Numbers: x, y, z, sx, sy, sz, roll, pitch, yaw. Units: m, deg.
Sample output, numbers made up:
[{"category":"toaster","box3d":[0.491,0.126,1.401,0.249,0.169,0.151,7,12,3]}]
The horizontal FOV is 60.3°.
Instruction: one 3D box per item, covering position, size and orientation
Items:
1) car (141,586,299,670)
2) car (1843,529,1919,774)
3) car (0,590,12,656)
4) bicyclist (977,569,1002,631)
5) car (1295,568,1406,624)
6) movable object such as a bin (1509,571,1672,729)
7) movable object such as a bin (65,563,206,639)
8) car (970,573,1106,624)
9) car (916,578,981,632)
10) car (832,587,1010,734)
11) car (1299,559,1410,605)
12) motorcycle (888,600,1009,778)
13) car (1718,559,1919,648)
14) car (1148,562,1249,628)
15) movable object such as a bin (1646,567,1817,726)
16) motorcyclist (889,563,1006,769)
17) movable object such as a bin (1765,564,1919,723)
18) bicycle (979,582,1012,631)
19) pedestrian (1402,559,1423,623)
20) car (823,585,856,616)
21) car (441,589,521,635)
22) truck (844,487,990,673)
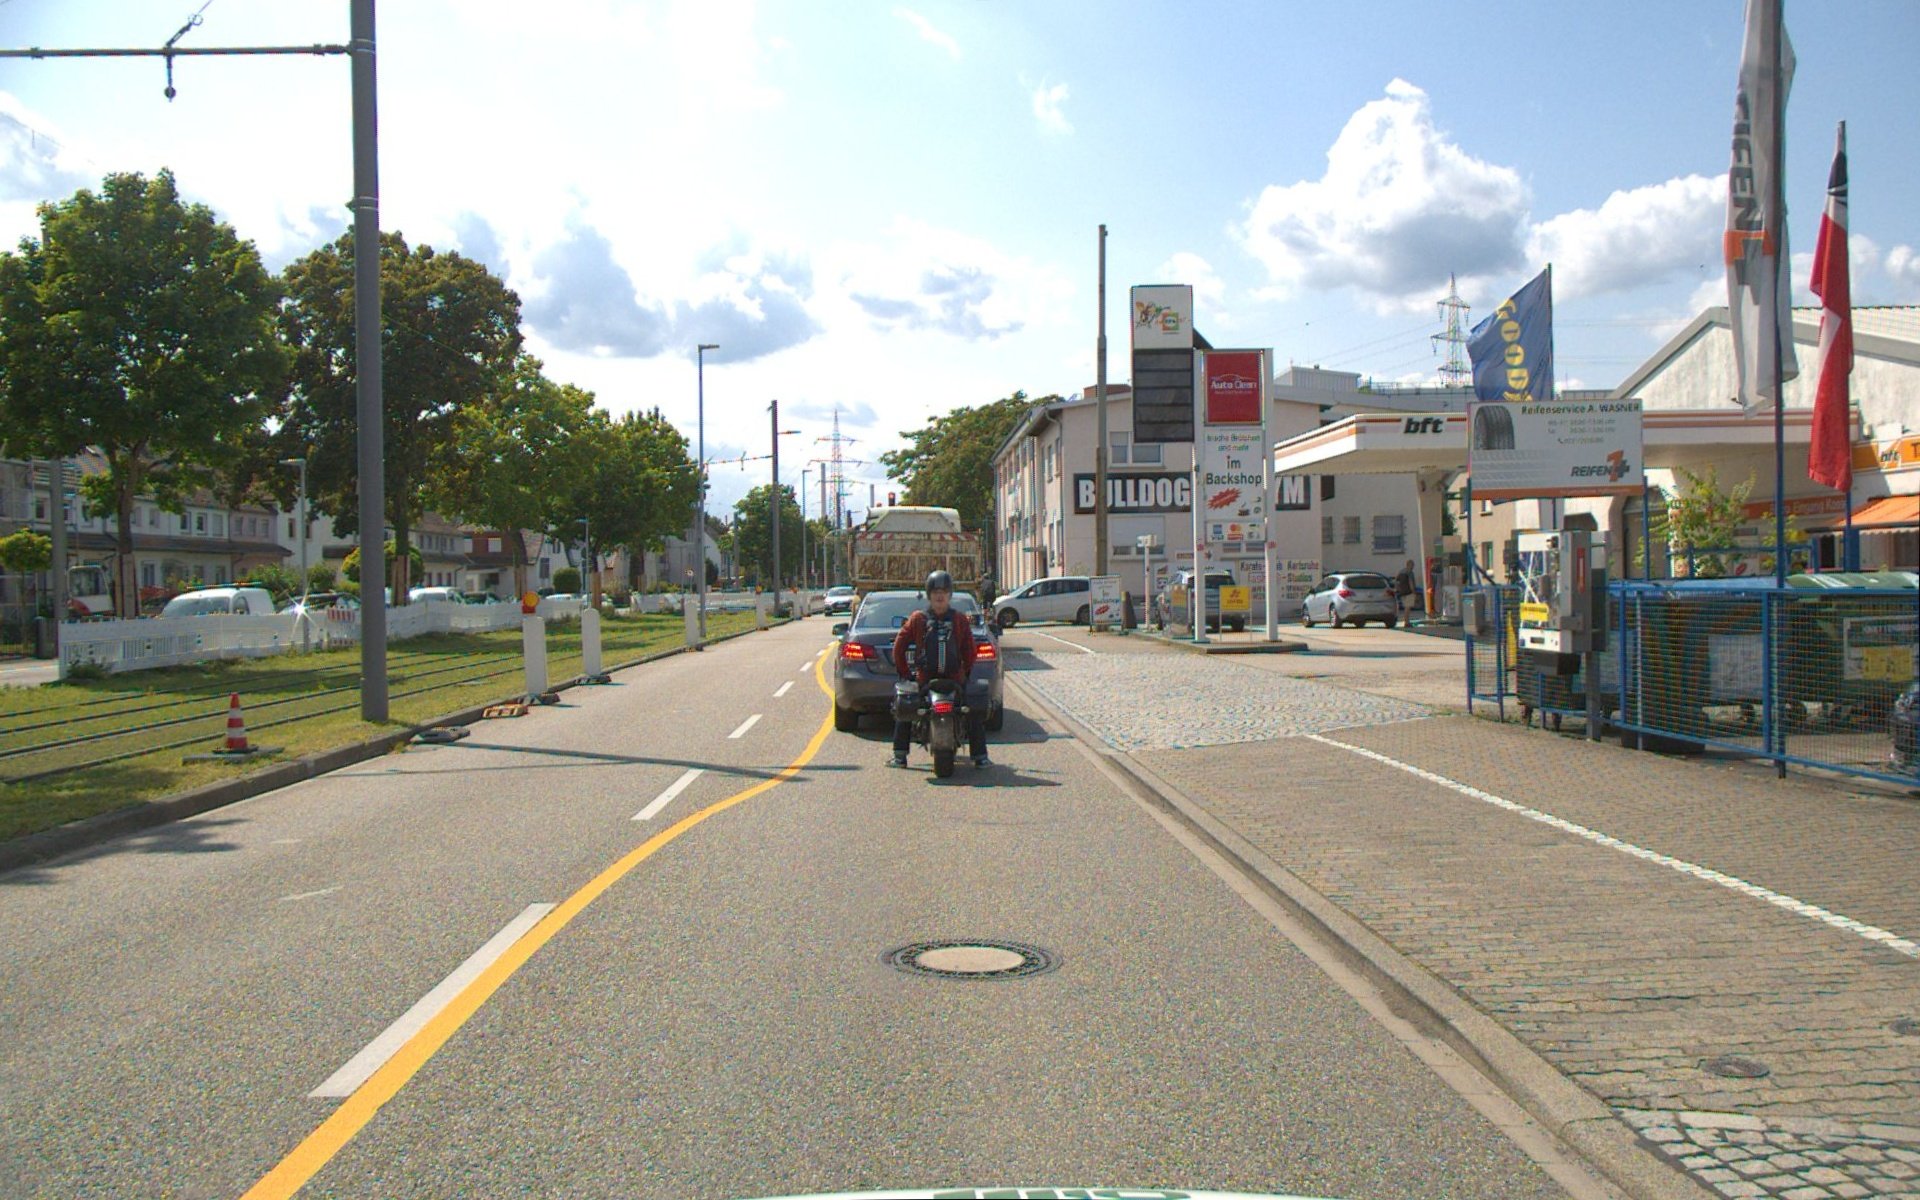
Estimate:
[{"category":"car","box3d":[-17.278,0.623,38.820,1.953,1.780,3.998,-2,0,-2]},{"category":"car","box3d":[7.837,0.254,10.207,3.902,1.468,1.712,-1,0,15]},{"category":"car","box3d":[-26.277,0.648,42.877,1.651,1.752,3.029,-2,0,-2]},{"category":"bicyclist","box3d":[0.866,-0.005,48.335,0.658,1.774,0.813,-1,0,-3]},{"category":"car","box3d":[10.918,-0.103,46.500,1.921,1.445,3.997,-2,0,-4]},{"category":"movable object such as a bin","box3d":[6.169,0.474,16.227,1.231,1.469,0.823,-2,0,-2]},{"category":"movable object such as a bin","box3d":[-28.914,0.016,58.144,4.279,2.492,1.775,-2,1,-24]},{"category":"car","box3d":[2.626,-0.053,56.108,4.252,1.578,1.945,-2,0,-10]},{"category":"car","box3d":[-0.380,0.110,47.751,1.785,1.489,3.999,0,1,-2]},{"category":"car","box3d":[-0.456,0.590,18.634,1.785,1.449,3.999,0,1,-2]},{"category":"car","box3d":[15.791,-0.725,66.344,3.907,1.677,1.964,-2,0,-3]},{"category":"motorcycle","box3d":[-0.132,0.687,14.079,0.920,1.343,2.644,1,0,-2]},{"category":"car","box3d":[14.954,0.039,28.226,3.253,1.384,1.611,-2,0,-2]},{"category":"car","box3d":[6.522,-0.132,45.613,1.921,1.677,3.997,-2,0,-4]},{"category":"movable object such as a bin","box3d":[7.521,0.440,16.169,1.231,1.469,0.823,-2,0,-2]},{"category":"motorcyclist","box3d":[-0.121,0.533,13.898,0.920,1.643,1.204,1,0,-2]},{"category":"movable object such as a bin","box3d":[8.820,0.405,16.245,1.296,1.469,0.953,-2,0,-9]},{"category":"bicycle","box3d":[1.017,0.174,48.372,0.679,1.385,2.416,-1,1,-5]},{"category":"pedestrian","box3d":[12.255,-0.244,44.811,0.388,1.718,0.485,-2,0,-1]},{"category":"car","box3d":[-6.192,-0.005,85.391,1.622,1.472,4.300,-2,1,-4]},{"category":"car","box3d":[-18.304,0.434,63.329,1.953,1.634,3.998,-2,0,-2]},{"category":"truck","box3d":[-0.885,-0.505,34.864,2.558,3.312,9.181,-2,2,-1]}]
